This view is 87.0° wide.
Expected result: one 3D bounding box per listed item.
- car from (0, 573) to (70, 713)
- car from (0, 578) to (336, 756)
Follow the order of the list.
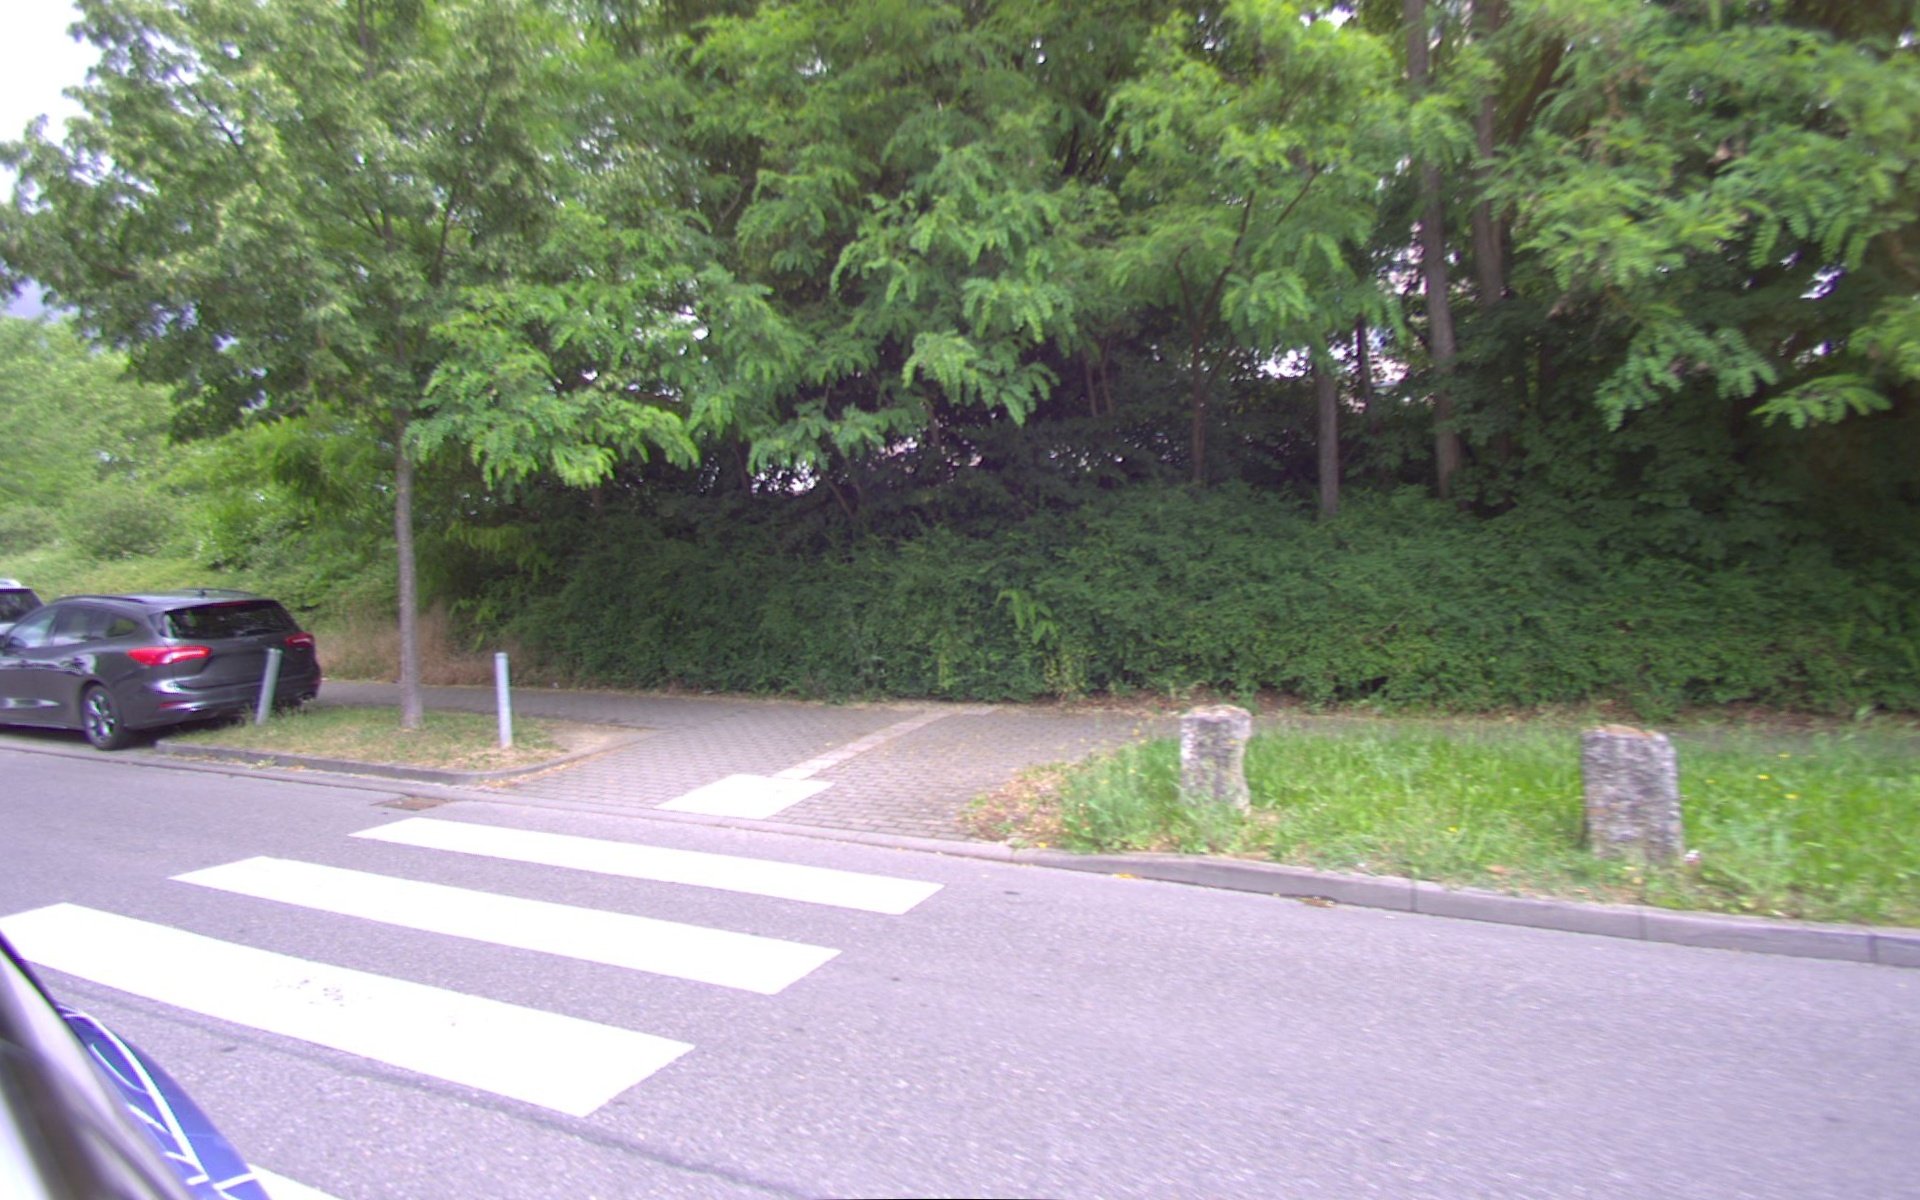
[{"bbox_3d":[-13.505,0.541,12.757,4.454,1.627,1.790,0,5,26],"label":"car"},{"bbox_3d":[-8.855,0.610,10.698,4.432,1.475,1.681,-1,4,26],"label":"car"}]
